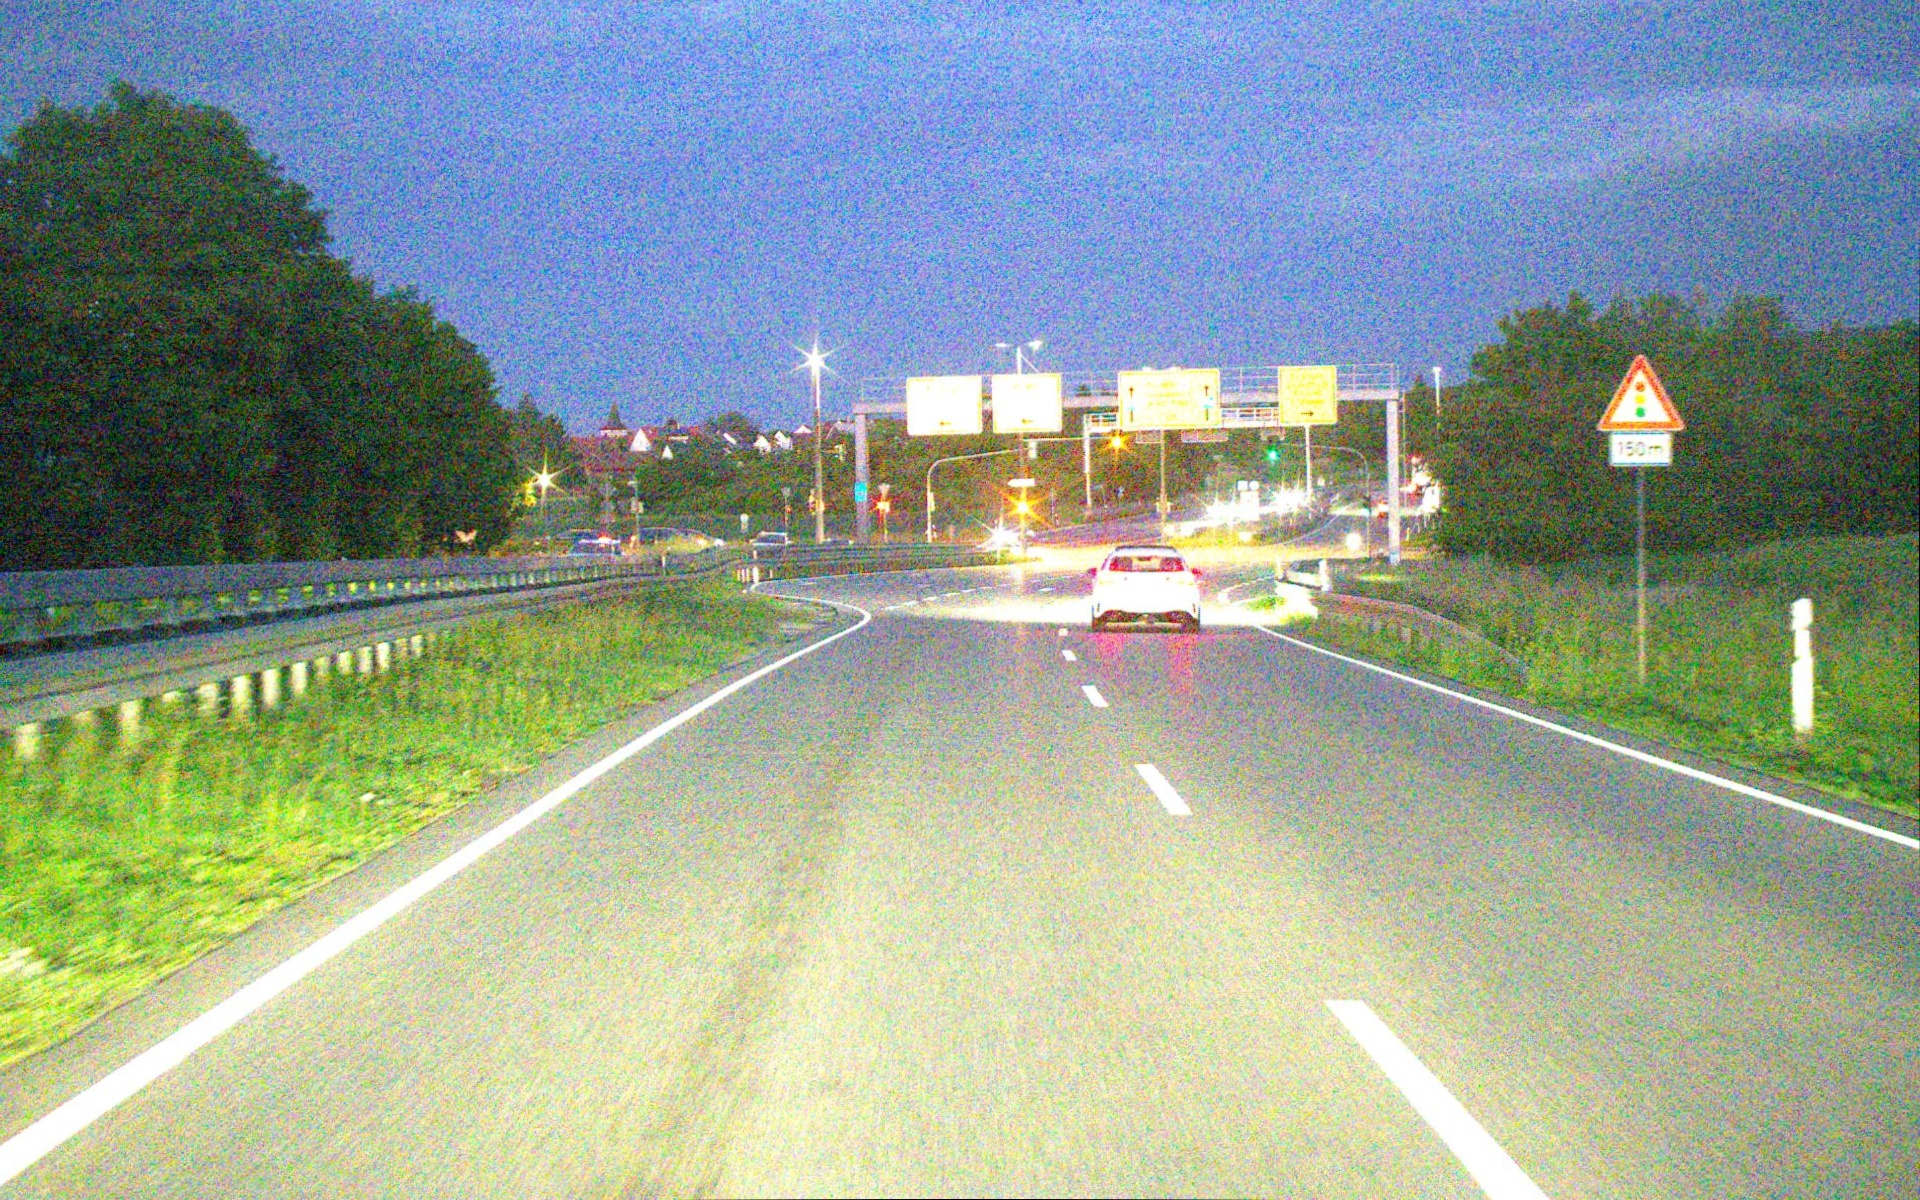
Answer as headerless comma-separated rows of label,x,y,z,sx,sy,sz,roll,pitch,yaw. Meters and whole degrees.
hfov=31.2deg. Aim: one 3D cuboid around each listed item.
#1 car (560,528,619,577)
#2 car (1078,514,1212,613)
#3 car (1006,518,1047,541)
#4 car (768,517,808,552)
car,-12.700,-1.634,118.043,1.770,1.635,4.662,-1,1,-3
car,3.091,-0.632,58.074,2.007,1.605,3.845,0,1,-1
car,4.282,-4.565,220.847,1.994,1.420,4.531,0,2,10
car,-8.193,-3.125,163.634,1.701,1.617,4.307,0,1,0
